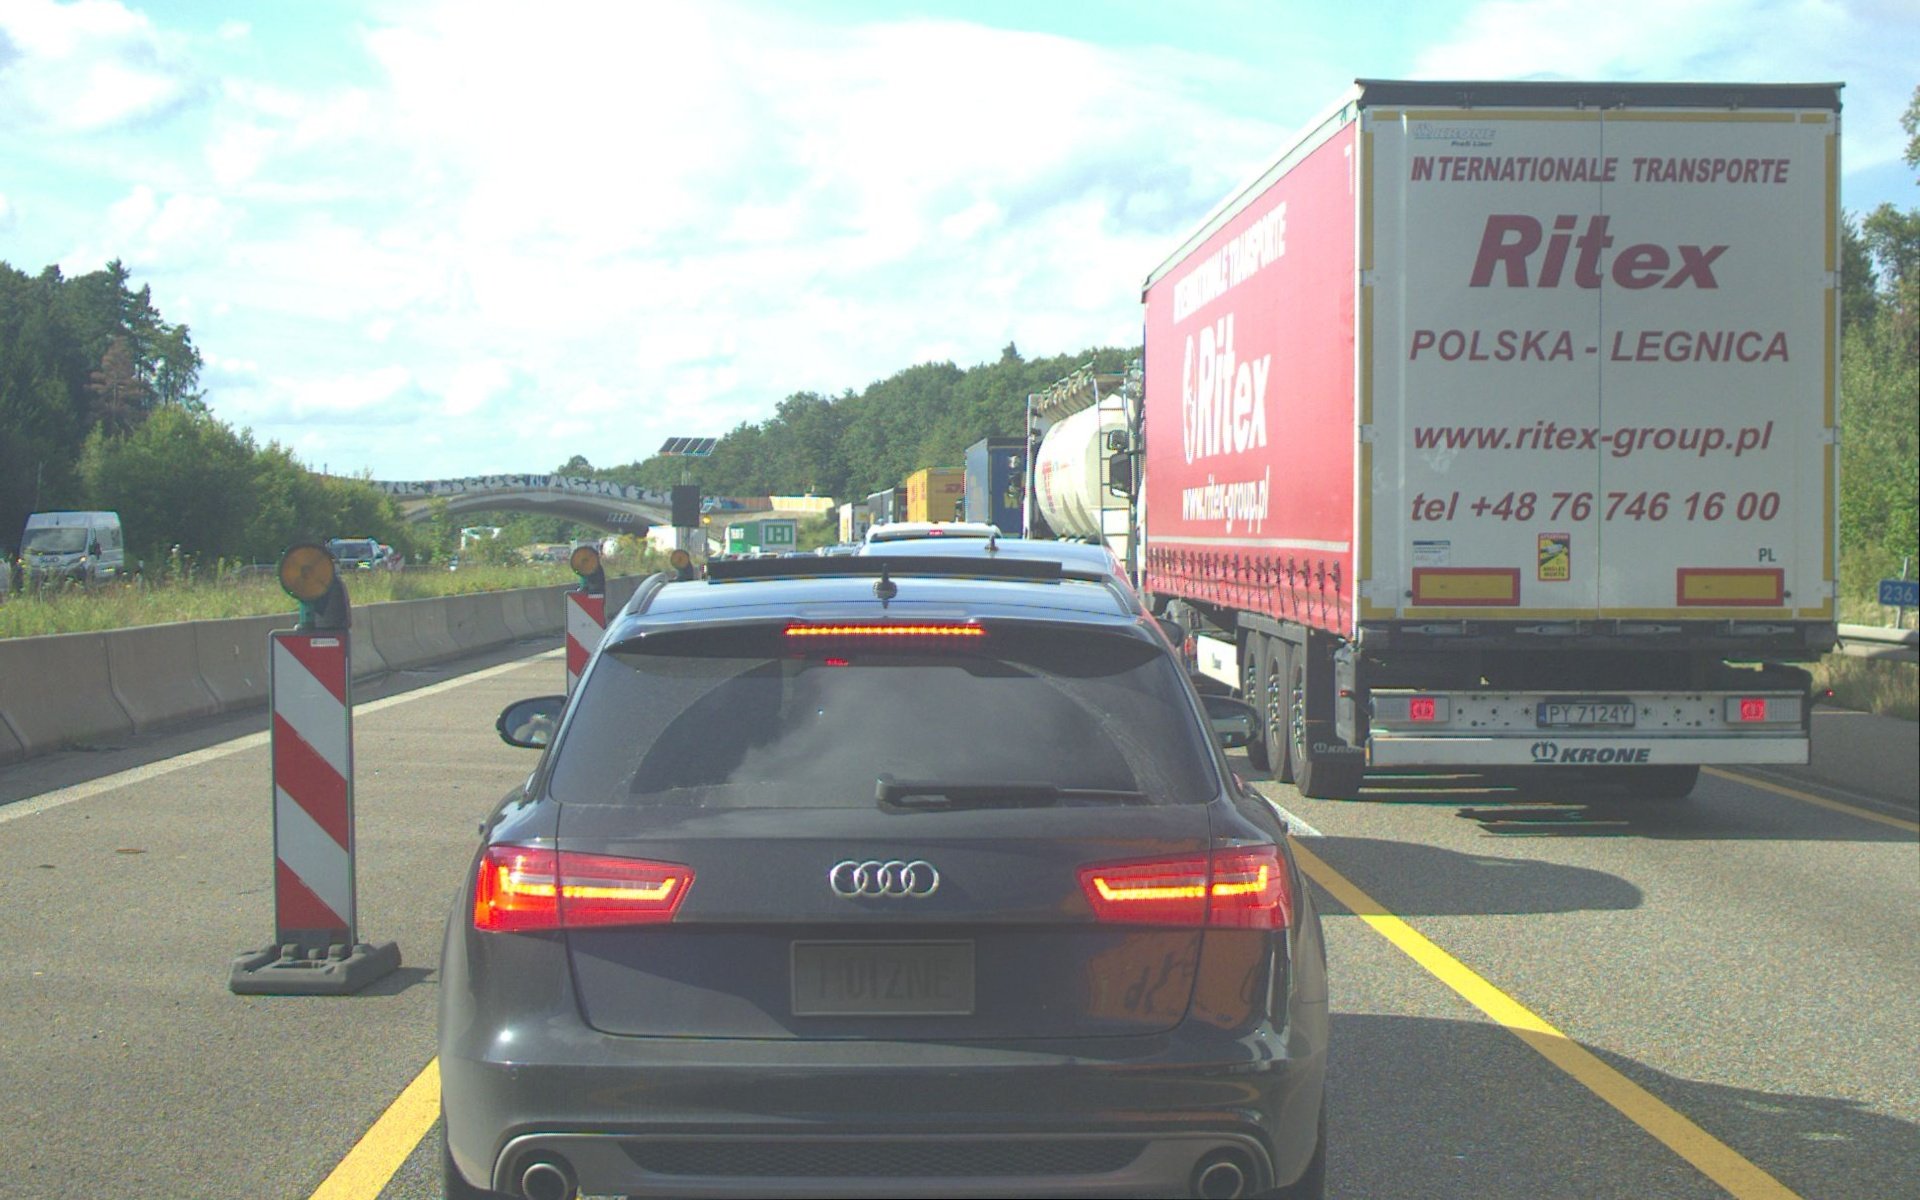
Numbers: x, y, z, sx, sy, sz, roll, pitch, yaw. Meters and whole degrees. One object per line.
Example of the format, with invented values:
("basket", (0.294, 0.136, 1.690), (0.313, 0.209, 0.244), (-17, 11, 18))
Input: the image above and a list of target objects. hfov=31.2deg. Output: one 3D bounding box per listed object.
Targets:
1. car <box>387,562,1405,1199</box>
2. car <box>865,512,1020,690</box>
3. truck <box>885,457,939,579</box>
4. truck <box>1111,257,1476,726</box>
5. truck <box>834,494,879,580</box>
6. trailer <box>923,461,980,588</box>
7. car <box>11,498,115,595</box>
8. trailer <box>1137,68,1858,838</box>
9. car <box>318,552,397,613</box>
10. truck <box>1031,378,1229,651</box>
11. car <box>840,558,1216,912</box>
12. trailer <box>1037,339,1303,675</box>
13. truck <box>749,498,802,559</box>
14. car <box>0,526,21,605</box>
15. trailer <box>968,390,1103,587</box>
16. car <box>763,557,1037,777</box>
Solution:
("car", (-0.139, 0.648, 8.265), (1.848, 1.458, 4.000), (0, 0, -1))
("car", (-0.200, 0.000, 37.438), (1.581, 1.830, 3.112), (1, 0, -1))
("truck", (-2.045, -3.375, 143.145), (1.993, 4.897, 9.563), (1, 1, -2))
("truck", (2.957, -0.969, 32.052), (2.667, 3.946, 5.711), (1, 1, -1))
("truck", (-5.249, -3.173, 175.414), (2.137, 4.243, 7.072), (1, 0, -1))
("trailer", (-0.298, -2.371, 109.873), (1.616, 3.905, 6.490), (1, 0, -1))
("car", (-25.386, -1.492, 97.456), (2.250, 2.634, 5.021), (1, 0, -8))
("trailer", (3.135, -0.869, 24.539), (2.699, 3.955, 13.418), (1, 1, -1))
("car", (-17.611, -0.519, 100.584), (1.715, 1.700, 3.523), (1, 0, -1))
("truck", (2.550, -1.274, 53.277), (2.659, 3.958, 5.779), (1, 0, -1))
("car", (0.262, 0.543, 15.808), (1.524, 1.434, 3.285), (1, 0, -1))
("trailer", (2.625, -1.188, 46.969), (2.644, 3.929, 12.598), (1, 1, -1))
("truck", (-13.003, -5.006, 241.740), (3.303, 4.160, 9.704), (0, 0, -6))
("car", (-25.470, -0.892, 87.600), (1.993, 2.007, 4.000), (1, 0, -1))
("trailer", (1.721, -2.566, 82.777), (2.805, 4.398, 10.433), (1, 0, -1))
("car", (-0.409, 0.418, 24.028), (1.751, 1.392, 3.608), (1, 0, -1))
